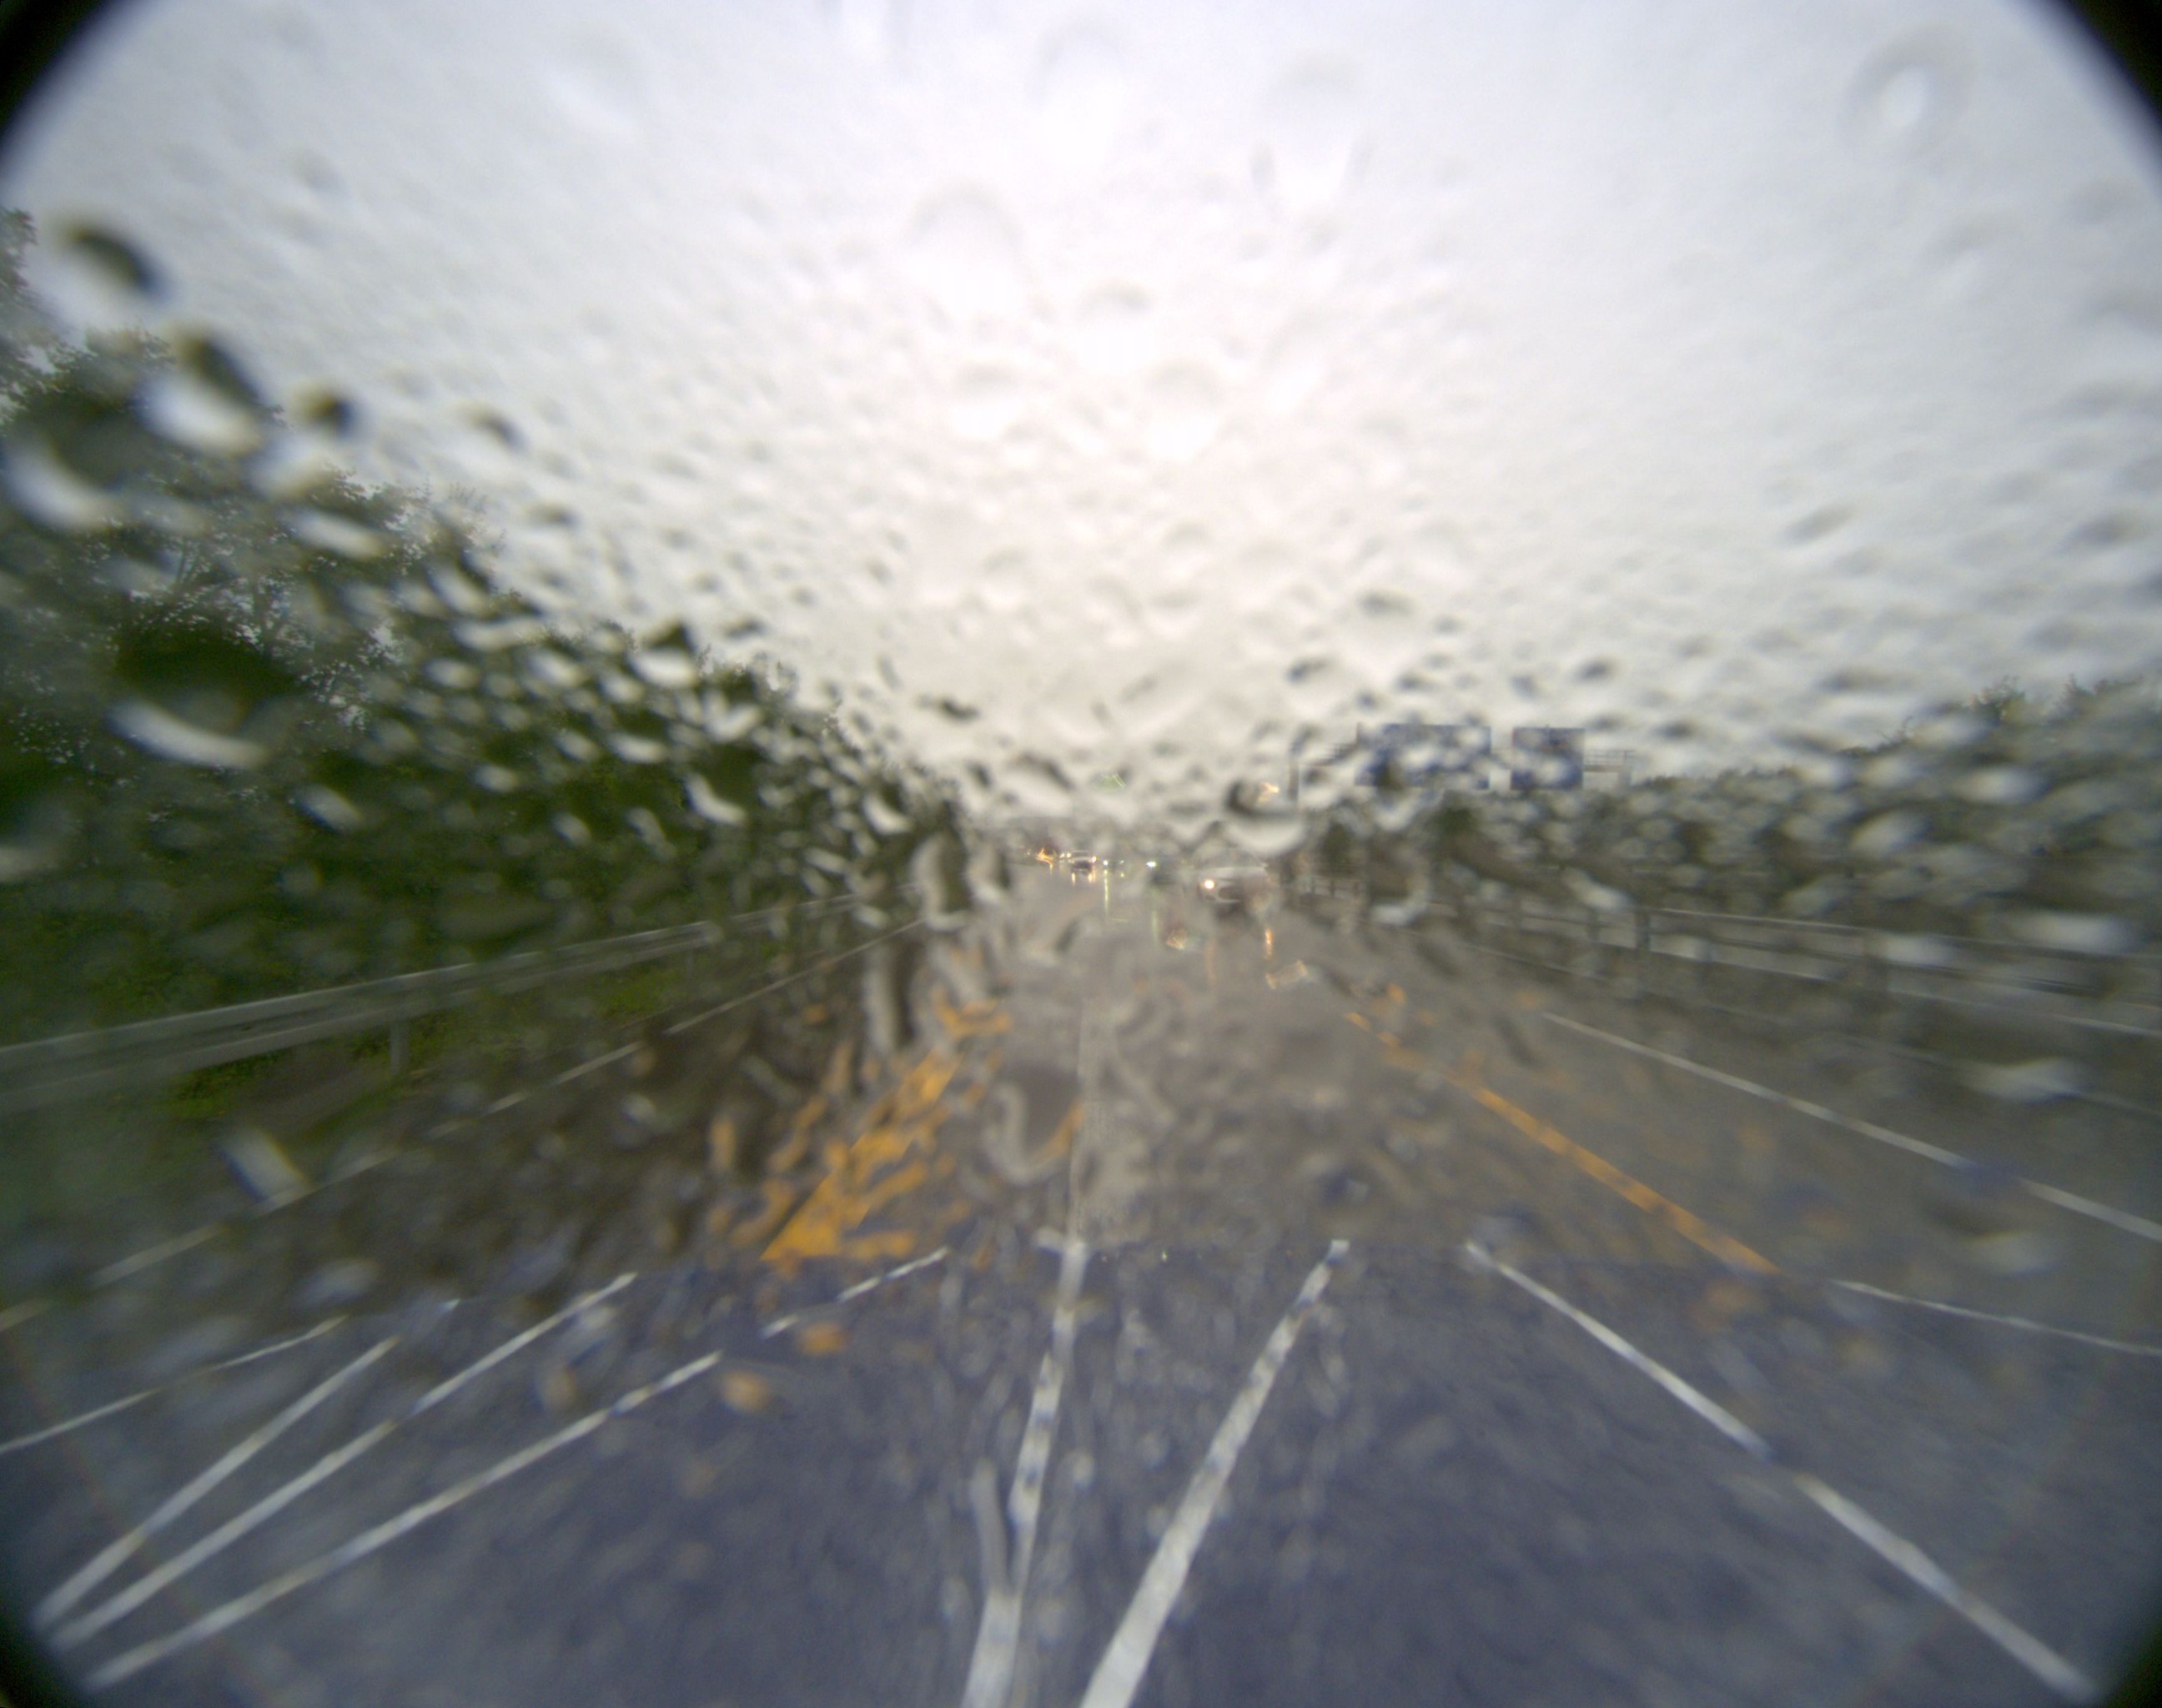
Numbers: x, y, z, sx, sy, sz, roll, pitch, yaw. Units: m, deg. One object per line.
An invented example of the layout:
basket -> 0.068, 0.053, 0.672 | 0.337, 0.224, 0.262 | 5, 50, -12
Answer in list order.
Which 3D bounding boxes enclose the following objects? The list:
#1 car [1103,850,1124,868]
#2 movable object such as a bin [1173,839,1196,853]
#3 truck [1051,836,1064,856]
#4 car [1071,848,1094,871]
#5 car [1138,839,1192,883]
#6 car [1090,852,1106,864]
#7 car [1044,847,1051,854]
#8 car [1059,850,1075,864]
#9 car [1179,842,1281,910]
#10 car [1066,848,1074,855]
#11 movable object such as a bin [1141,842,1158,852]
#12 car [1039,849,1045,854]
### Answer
car -> 3.200, 0.477, 75.434 | 1.695, 1.740, 3.998 | -2, 1, -3
movable object such as a bin -> 22.157, -1.699, 163.135 | 3.775, 2.782, 6.327 | -2, 1, -2
truck -> -5.084, -1.730, 165.360 | 2.484, 4.061, 8.700 | -2, 1, -3
car -> 0.143, 0.517, 72.529 | 1.882, 2.002, 3.998 | -2, 1, -3
car -> 4.173, 0.301, 38.655 | 2.211, 2.002, 5.563 | -2, 1, 1
car -> 2.248, 0.512, 101.740 | 1.845, 1.586, 3.998 | -2, 1, -3
car -> -9.131, -0.907, 209.078 | 1.834, 1.740, 3.998 | -2, 1, -3
car -> -1.748, 0.396, 95.164 | 1.882, 1.656, 3.998 | -2, 1, -3
car -> 3.836, 0.557, 20.344 | 1.978, 1.586, 4.310 | -1, -1, 2
car -> -2.755, -0.637, 186.109 | 1.752, 1.579, 3.998 | -2, 1, -3
movable object such as a bin -> 18.408, -1.889, 204.364 | 3.449, 2.281, 5.096 | -2, 1, -9
car -> -12.188, -0.713, 236.737 | 1.752, 1.579, 3.998 | -2, 1, -3
